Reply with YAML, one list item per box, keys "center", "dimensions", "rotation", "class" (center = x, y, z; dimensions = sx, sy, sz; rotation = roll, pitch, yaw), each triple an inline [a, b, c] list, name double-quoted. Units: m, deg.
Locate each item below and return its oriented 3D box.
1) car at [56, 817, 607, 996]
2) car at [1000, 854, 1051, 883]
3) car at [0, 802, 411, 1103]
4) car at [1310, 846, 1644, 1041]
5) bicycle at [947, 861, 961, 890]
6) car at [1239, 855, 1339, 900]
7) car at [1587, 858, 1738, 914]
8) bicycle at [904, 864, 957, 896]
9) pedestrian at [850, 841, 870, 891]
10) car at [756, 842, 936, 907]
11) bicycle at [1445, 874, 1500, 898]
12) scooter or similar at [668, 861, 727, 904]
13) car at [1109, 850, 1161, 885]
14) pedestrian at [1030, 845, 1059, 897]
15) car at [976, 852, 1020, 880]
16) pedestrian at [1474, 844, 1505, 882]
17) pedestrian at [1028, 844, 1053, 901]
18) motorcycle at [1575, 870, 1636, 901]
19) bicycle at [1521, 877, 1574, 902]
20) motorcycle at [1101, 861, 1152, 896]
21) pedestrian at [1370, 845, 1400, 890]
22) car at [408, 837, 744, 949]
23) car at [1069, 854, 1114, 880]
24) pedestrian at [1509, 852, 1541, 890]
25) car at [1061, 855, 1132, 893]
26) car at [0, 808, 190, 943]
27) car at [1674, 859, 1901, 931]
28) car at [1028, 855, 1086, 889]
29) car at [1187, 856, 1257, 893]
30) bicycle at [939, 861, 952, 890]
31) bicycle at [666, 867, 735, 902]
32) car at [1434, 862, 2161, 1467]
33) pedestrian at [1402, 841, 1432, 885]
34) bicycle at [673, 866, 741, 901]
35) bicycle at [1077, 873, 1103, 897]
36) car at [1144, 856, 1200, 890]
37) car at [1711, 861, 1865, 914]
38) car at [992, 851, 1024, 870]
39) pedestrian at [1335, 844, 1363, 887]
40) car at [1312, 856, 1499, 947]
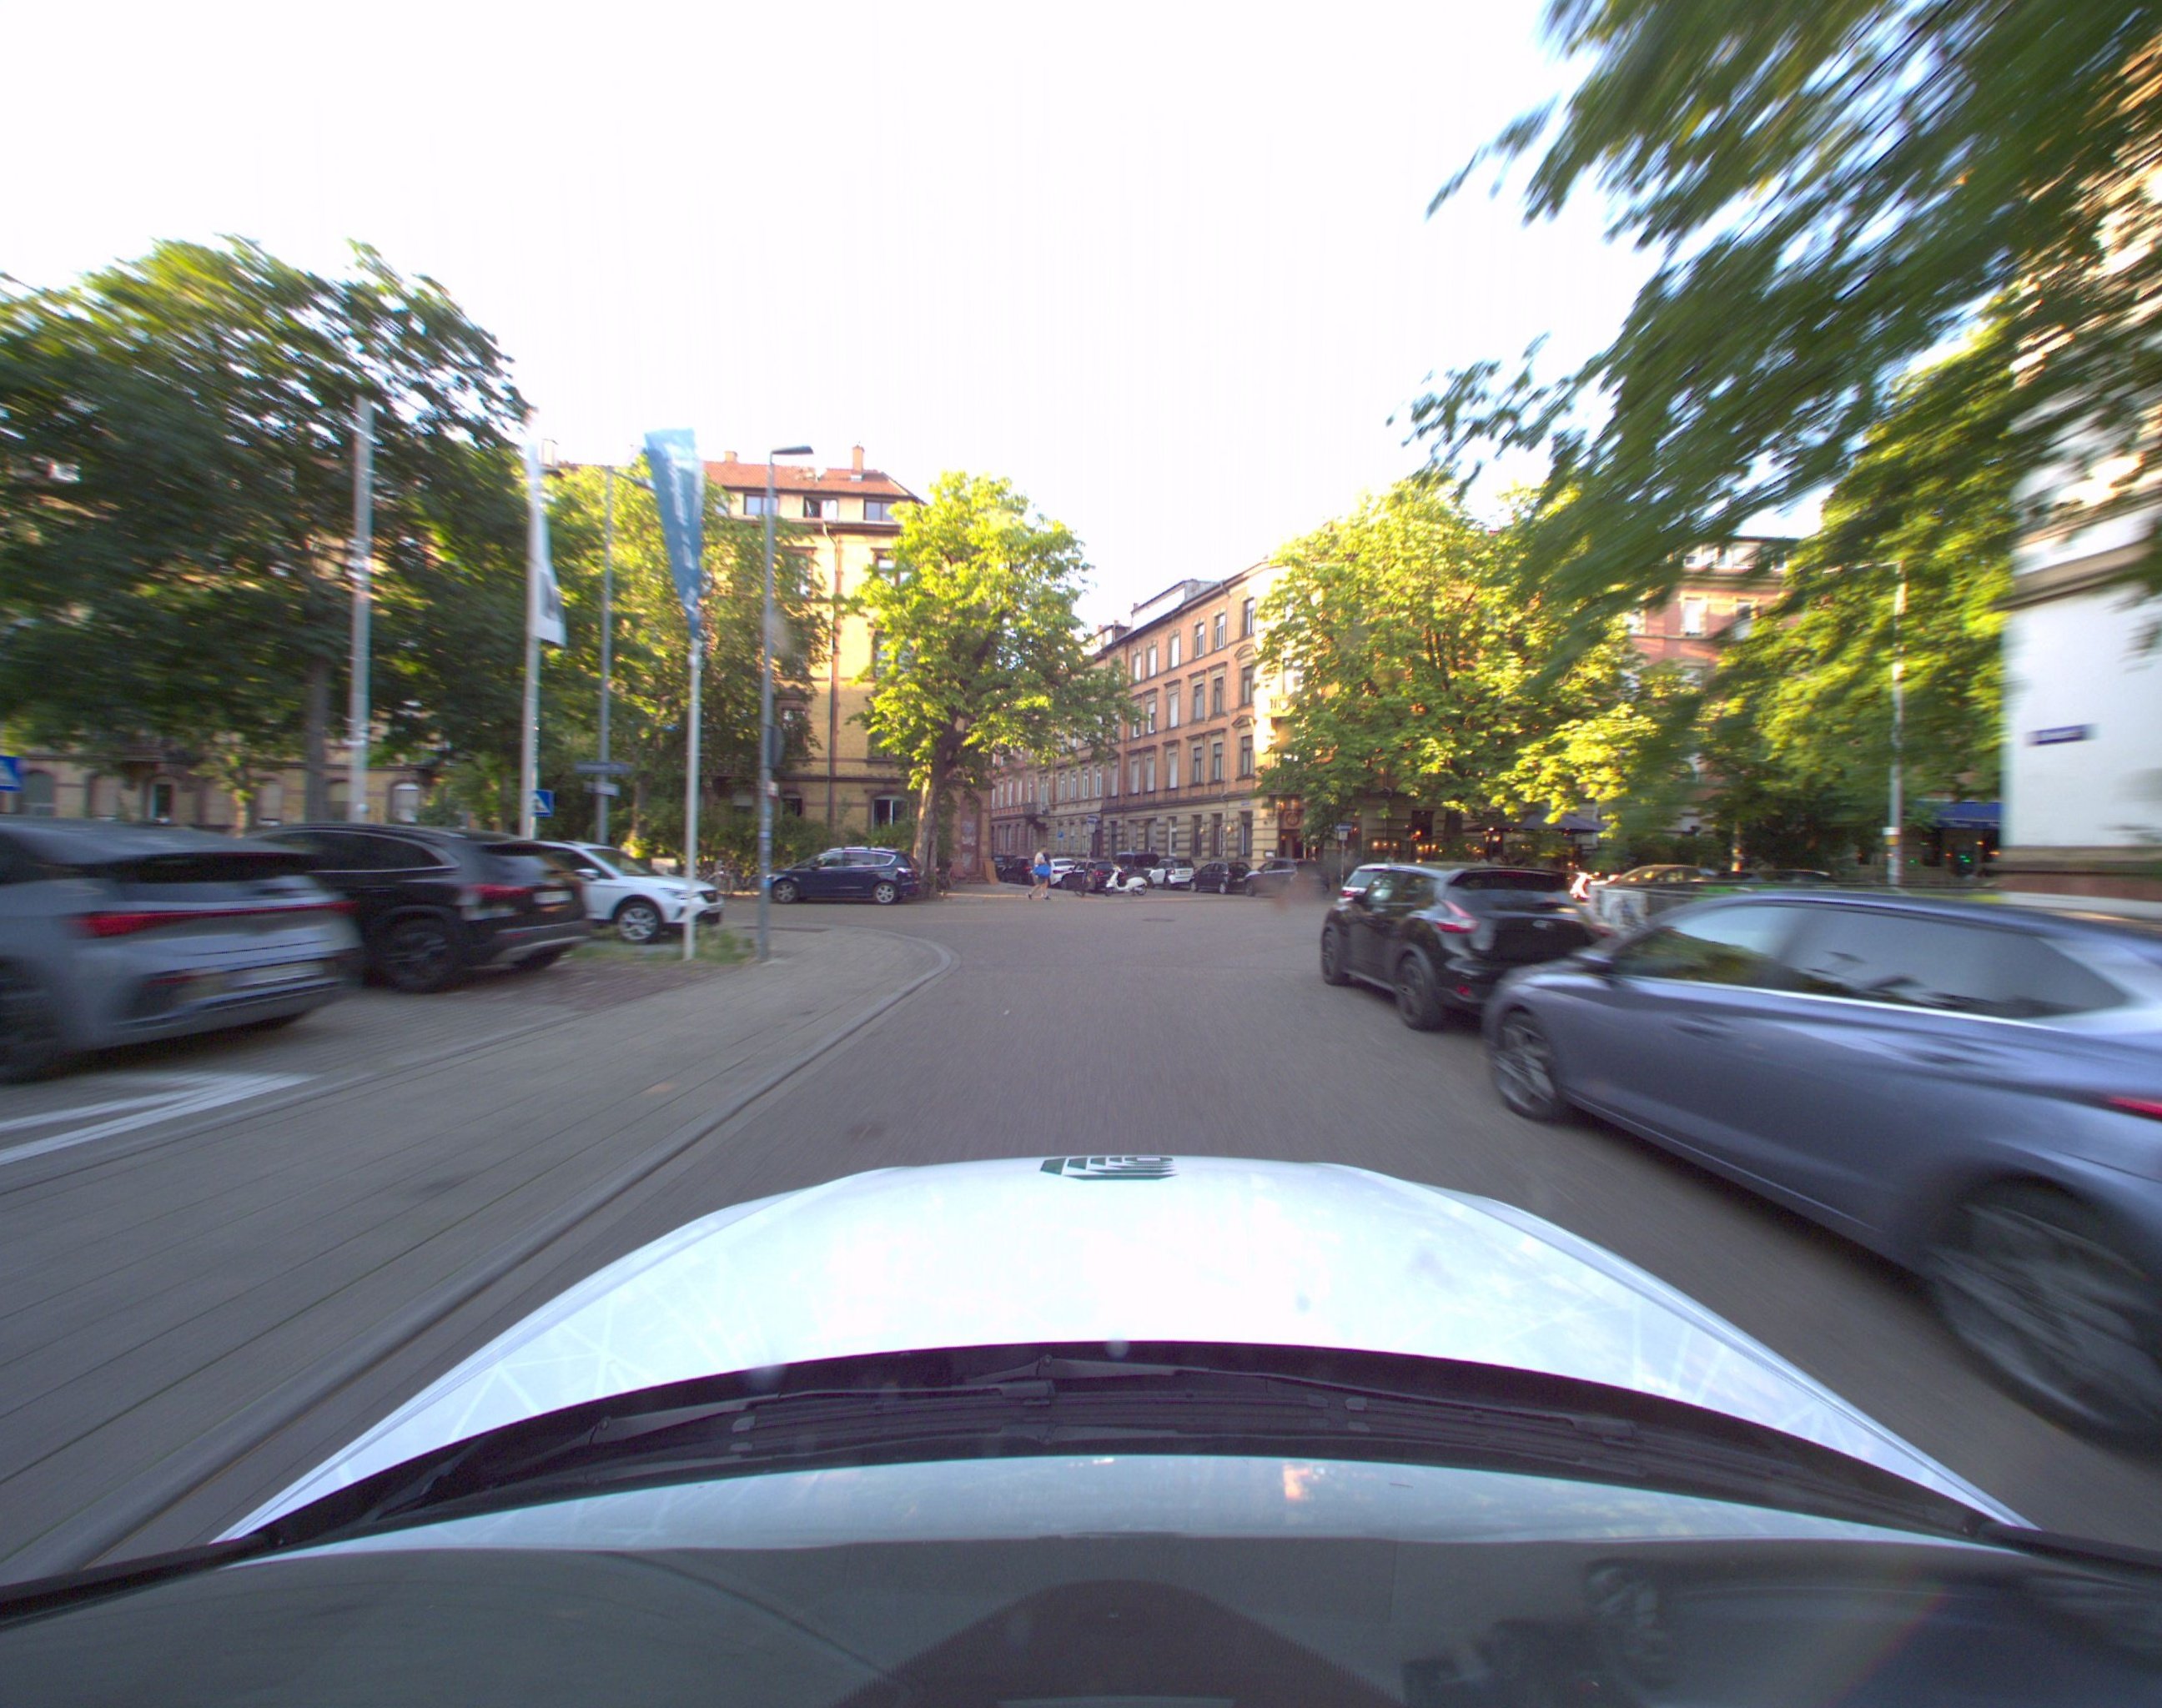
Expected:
- center: [-7.497, 0.477, 8.476]
  dimensions: [4.054, 1.618, 1.765]
  rotation: [1, 1, 0]
  class: "car"
- center: [-3.084, 0.769, 44.549]
  dimensions: [1.661, 1.431, 3.868]
  rotation: [1, 1, -22]
  class: "car"
- center: [-7.404, 0.470, 5.471]
  dimensions: [4.116, 1.618, 1.913]
  rotation: [3, 1, 0]
  class: "car"
- center: [3.784, 0.734, 8.629]
  dimensions: [1.689, 1.571, 3.972]
  rotation: [1, 0, 1]
  class: "car"
- center: [-4.900, 0.824, 31.461]
  dimensions: [0.318, 1.028, 1.676]
  rotation: [1, 1, -2]
  class: "bicycle"
- center: [8.141, 0.900, 32.234]
  dimensions: [1.922, 1.525, 3.868]
  rotation: [1, 1, -22]
  class: "car"
- center: [18.608, 1.002, 26.134]
  dimensions: [3.749, 1.605, 1.625]
  rotation: [2, 2, -5]
  class: "car"
- center: [-4.992, 0.855, 26.978]
  dimensions: [1.678, 1.028, 0.442]
  rotation: [1, 1, -22]
  class: "bicycle"
- center: [-7.334, 0.404, 27.043]
  dimensions: [0.541, 1.635, 0.448]
  rotation: [1, 0, -3]
  class: "pedestrian"
- center: [-6.923, 0.582, 24.399]
  dimensions: [4.820, 1.732, 1.918]
  rotation: [2, 1, -5]
  class: "car"
- center: [14.453, 1.184, 30.073]
  dimensions: [1.969, 0.885, 0.399]
  rotation: [1, 1, -12]
  class: "bicycle"
- center: [-11.234, 0.820, 23.901]
  dimensions: [1.519, 1.224, 0.442]
  rotation: [1, 1, -22]
  class: "scooter or similar"
- center: [2.887, 0.698, 44.040]
  dimensions: [1.681, 1.782, 2.993]
  rotation: [1, 0, -22]
  class: "car"
- center: [-1.320, 0.590, 28.947]
  dimensions: [0.737, 1.804, 1.115]
  rotation: [1, 1, -18]
  class: "pedestrian"
- center: [-5.147, 0.736, 49.929]
  dimensions: [1.661, 1.524, 3.868]
  rotation: [1, 1, -22]
  class: "car"
- center: [16.024, 0.338, 31.981]
  dimensions: [0.773, 1.481, 0.759]
  rotation: [1, 1, -9]
  class: "pedestrian"
- center: [-1.350, 0.605, 27.264]
  dimensions: [0.813, 1.852, 0.802]
  rotation: [1, 0, -3]
  class: "pedestrian"
- center: [19.381, 1.163, 30.127]
  dimensions: [1.822, 1.081, 0.520]
  rotation: [1, 1, 8]
  class: "motorcycle"
- center: [17.227, 1.312, 30.071]
  dimensions: [1.875, 0.885, 0.399]
  rotation: [1, 1, -12]
  class: "bicycle"
- center: [1.781, 0.957, 32.230]
  dimensions: [1.931, 1.340, 0.575]
  rotation: [1, 0, -9]
  class: "motorcycle"
- center: [12.215, 0.529, 32.767]
  dimensions: [0.774, 1.804, 0.839]
  rotation: [1, 1, -13]
  class: "pedestrian"
- center: [-7.799, 0.563, 12.933]
  dimensions: [4.035, 1.475, 1.919]
  rotation: [3, 1, -2]
  class: "car"
- center: [0.634, 0.766, 49.415]
  dimensions: [1.681, 1.431, 2.993]
  rotation: [1, 0, -22]
  class: "car"
- center: [17.453, 0.670, 32.038]
  dimensions: [0.773, 1.481, 0.759]
  rotation: [1, 1, -9]
  class: "pedestrian"
- center: [0.606, 0.851, 35.552]
  dimensions: [1.661, 1.431, 3.962]
  rotation: [1, 1, -22]
  class: "car"
- center: [-13.286, 0.229, 9.228]
  dimensions: [1.697, 1.550, 4.222]
  rotation: [1, 0, -1]
  class: "car"
- center: [16.777, 0.980, 19.458]
  dimensions: [3.951, 1.530, 1.878]
  rotation: [2, -3, -5]
  class: "car"
- center: [-1.240, 0.854, 40.209]
  dimensions: [1.660, 1.431, 4.139]
  rotation: [1, 1, -20]
  class: "car"
- center: [6.345, 0.911, 36.895]
  dimensions: [1.681, 1.525, 3.220]
  rotation: [1, 1, -22]
  class: "car"
- center: [-5.216, 0.806, 31.351]
  dimensions: [0.241, 1.028, 1.676]
  rotation: [1, 1, -2]
  class: "bicycle"
- center: [-11.455, 0.906, 24.570]
  dimensions: [1.862, 1.028, 0.442]
  rotation: [1, 1, -22]
  class: "bicycle"
- center: [3.469, 0.800, 3.789]
  dimensions: [1.691, 1.477, 4.208]
  rotation: [1, 0, -3]
  class: "car"
- center: [14.014, 0.376, 33.979]
  dimensions: [0.774, 1.804, 0.839]
  rotation: [1, 1, -13]
  class: "pedestrian"
- center: [-11.520, 0.897, 25.115]
  dimensions: [1.862, 1.028, 0.442]
  rotation: [1, 1, -22]
  class: "bicycle"
- center: [0.348, 1.135, 30.153]
  dimensions: [0.421, 0.822, 1.470]
  rotation: [1, 1, 24]
  class: "bicycle"
- center: [4.494, 0.923, 40.533]
  dimensions: [1.681, 1.525, 2.747]
  rotation: [2, 0, -22]
  class: "car"
- center: [22.937, 1.068, 26.491]
  dimensions: [3.749, 1.554, 1.625]
  rotation: [2, 0, -5]
  class: "car"
- center: [-5.856, 0.519, 64.895]
  dimensions: [1.681, 1.431, 2.993]
  rotation: [1, 0, -22]
  class: "car"
- center: [11.479, 0.489, 34.911]
  dimensions: [0.843, 1.804, 0.771]
  rotation: [1, 1, -19]
  class: "pedestrian"
- center: [6.312, 0.814, 15.631]
  dimensions: [3.994, 1.466, 1.859]
  rotation: [1, 1, -45]
  class: "car"
